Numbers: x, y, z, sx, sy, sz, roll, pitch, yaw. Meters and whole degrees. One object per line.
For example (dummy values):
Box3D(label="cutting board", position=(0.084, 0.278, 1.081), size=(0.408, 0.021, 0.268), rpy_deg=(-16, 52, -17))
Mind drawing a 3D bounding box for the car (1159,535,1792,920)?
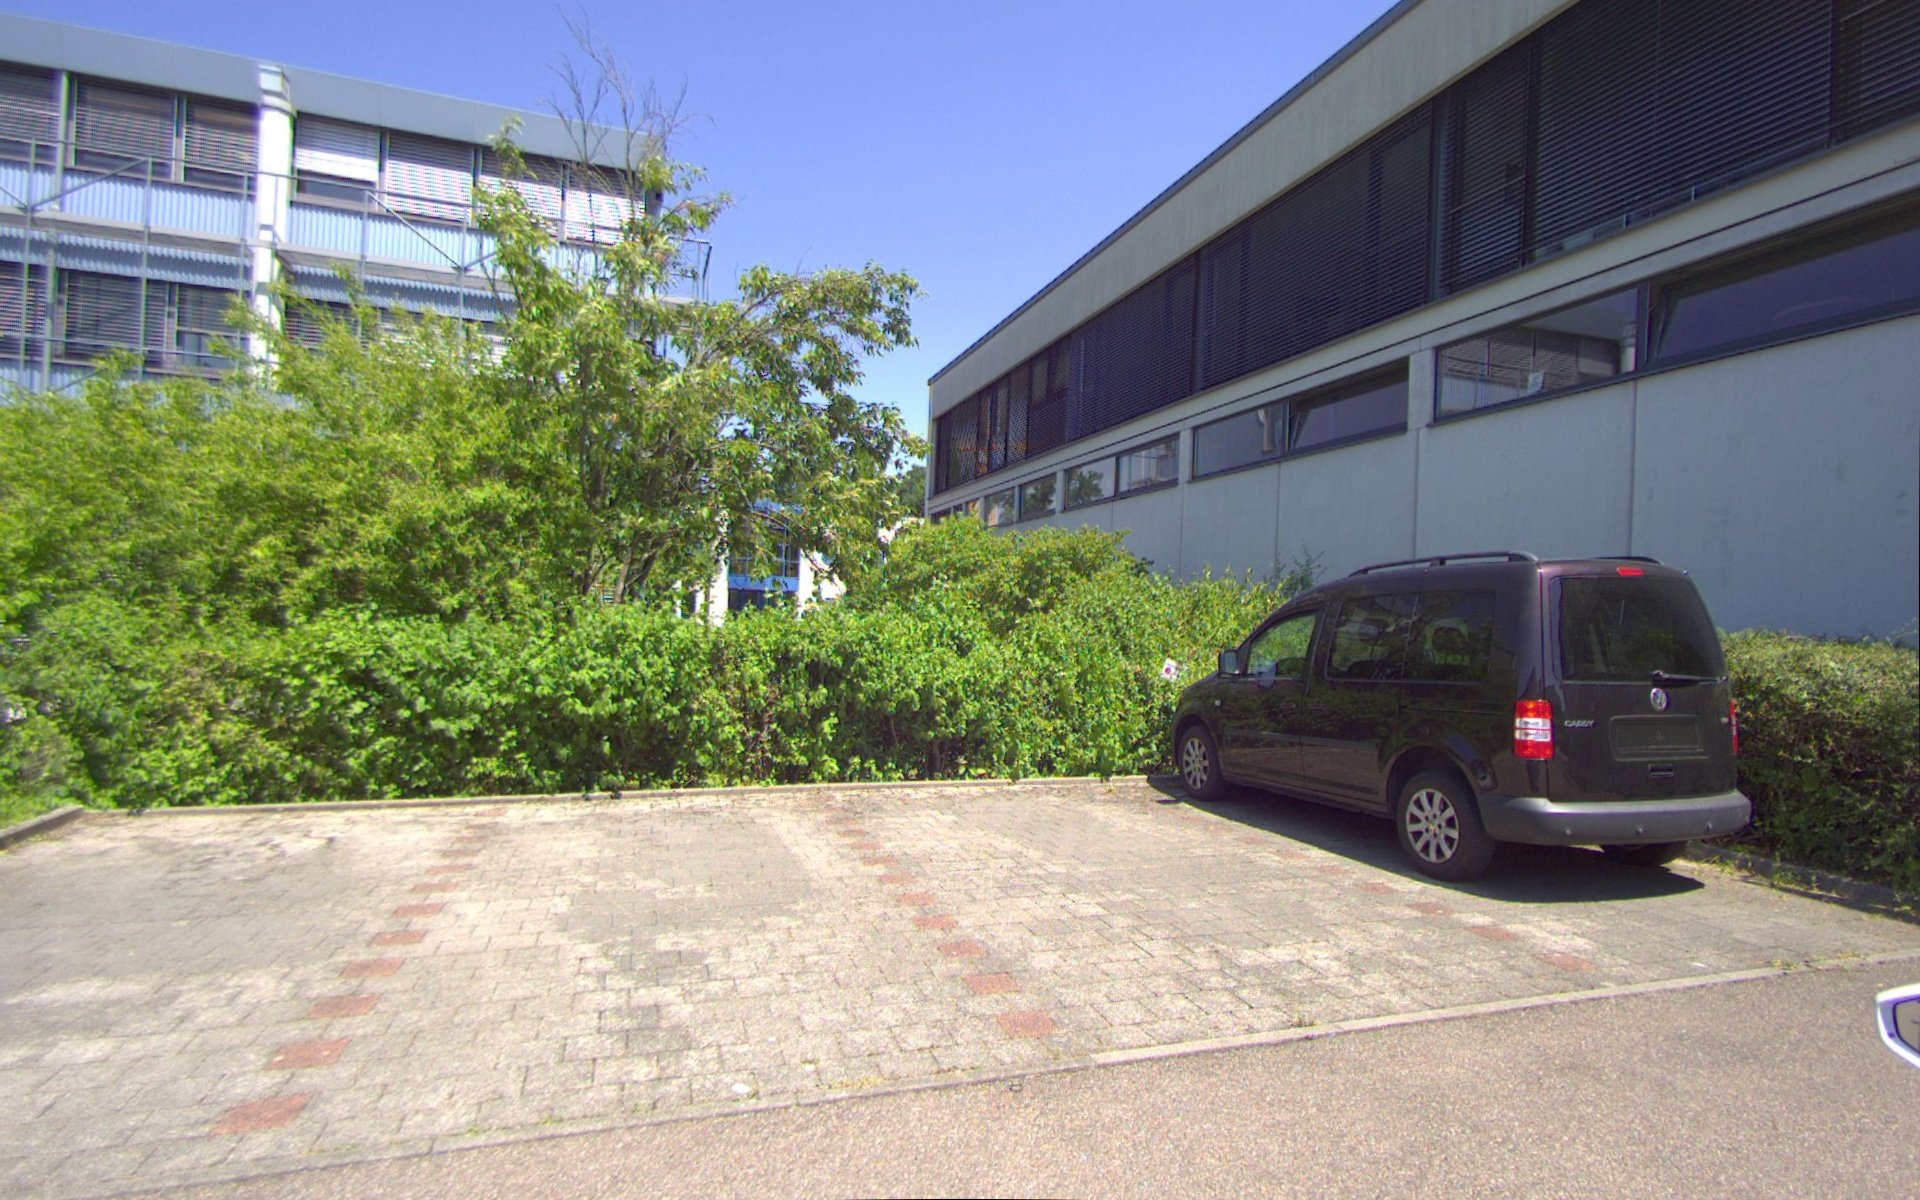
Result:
Box3D(label="car", position=(3.145, 0.660, 7.169), size=(1.652, 1.909, 4.056), rpy_deg=(2, -1, -17))
